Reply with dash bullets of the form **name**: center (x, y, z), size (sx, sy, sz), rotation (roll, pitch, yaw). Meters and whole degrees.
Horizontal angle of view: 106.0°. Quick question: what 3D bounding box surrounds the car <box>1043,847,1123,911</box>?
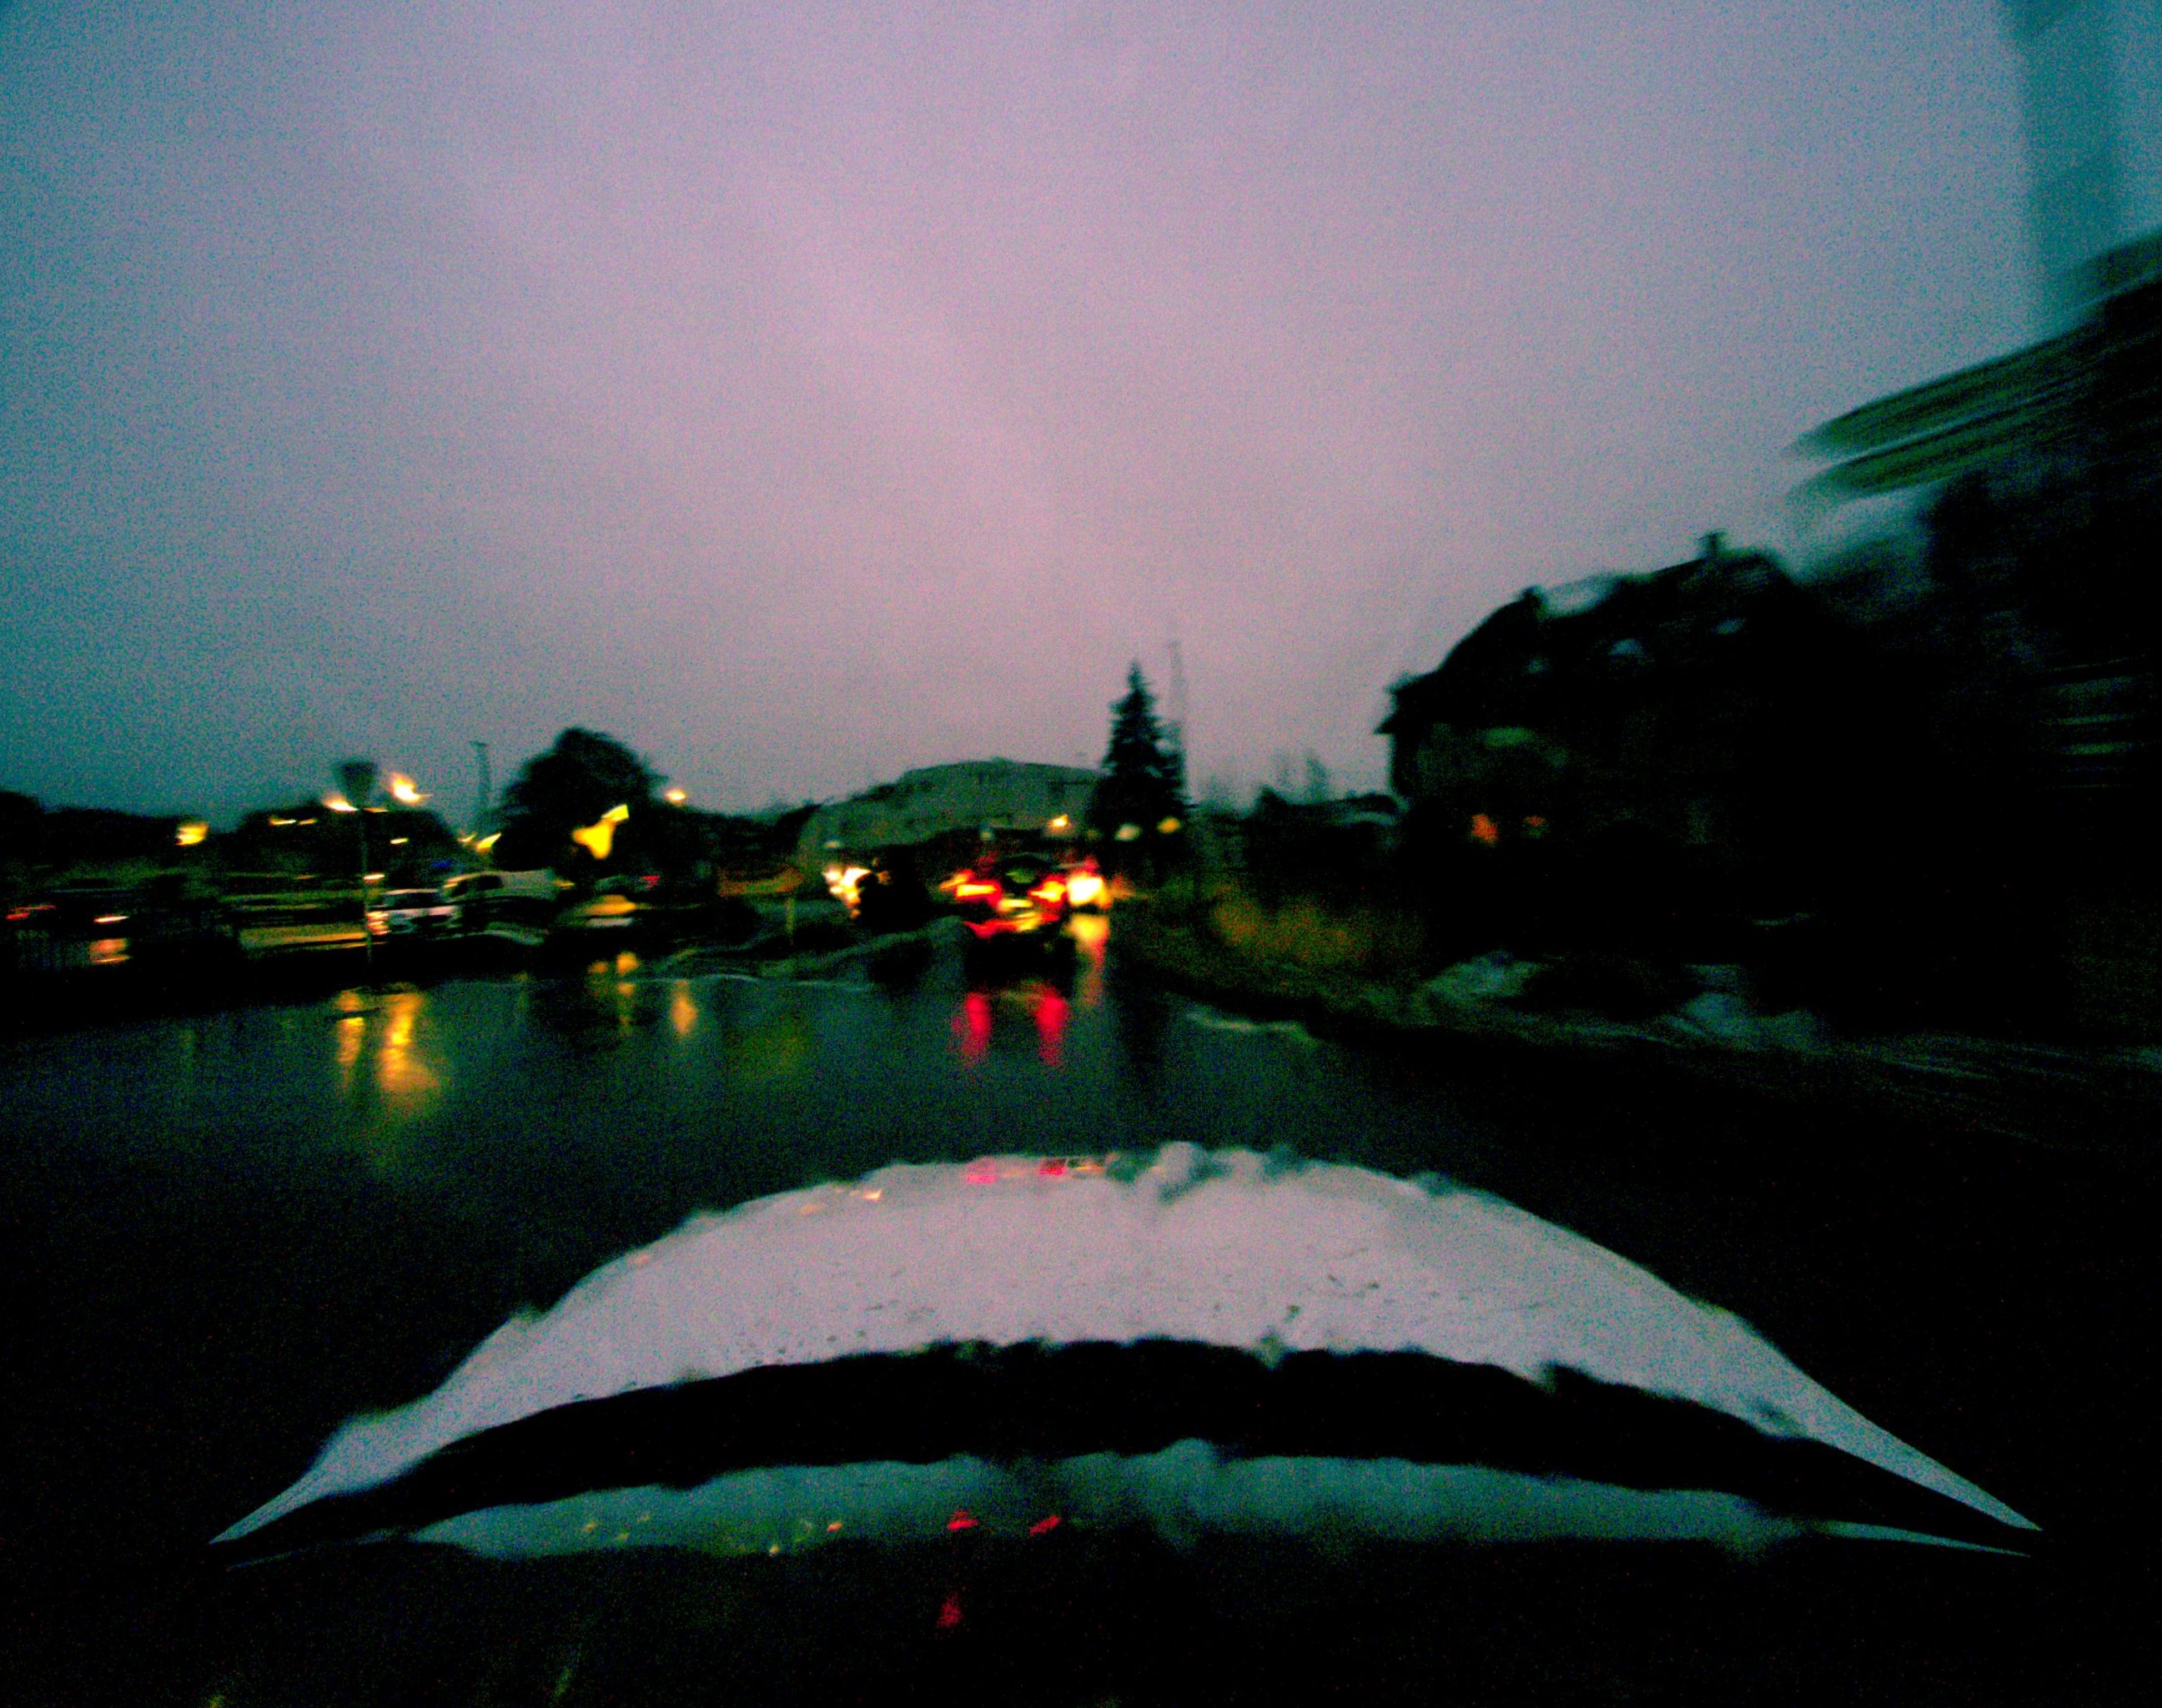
- **car**: center (0.180, 0.742, 26.653), size (2.153, 1.689, 4.578), rotation (-3, 1, 5)

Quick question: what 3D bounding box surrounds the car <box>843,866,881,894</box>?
- **car**: center (-17.916, 2.047, 66.556), size (2.174, 2.060, 4.533), rotation (-3, 1, -25)

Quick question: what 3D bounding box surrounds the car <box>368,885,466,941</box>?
- **car**: center (-22.074, 1.884, 27.017), size (4.227, 1.561, 2.077), rotation (-1, -1, 44)

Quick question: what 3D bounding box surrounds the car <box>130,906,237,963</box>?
- **car**: center (-26.214, 2.277, 23.749), size (3.948, 1.311, 1.853), rotation (-1, -1, 39)

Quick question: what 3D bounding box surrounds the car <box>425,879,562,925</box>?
- **car**: center (-30.496, 2.425, 42.464), size (2.007, 2.134, 5.458), rotation (-1, -1, 35)

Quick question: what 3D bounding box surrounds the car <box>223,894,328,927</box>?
- **car**: center (-44.002, 3.025, 44.542), size (1.706, 1.541, 3.876), rotation (-1, -1, 36)

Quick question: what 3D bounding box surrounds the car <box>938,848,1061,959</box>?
- **car**: center (-1.450, 0.791, 15.279), size (1.941, 1.718, 3.995), rotation (-2, 0, -4)

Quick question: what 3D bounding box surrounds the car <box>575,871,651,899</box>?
- **car**: center (-33.425, 2.178, 58.231), size (1.684, 1.747, 4.384), rotation (-2, 1, 40)

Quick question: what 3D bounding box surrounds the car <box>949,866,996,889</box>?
- **car**: center (-7.963, 1.735, 59.424), size (1.893, 1.548, 4.530), rotation (-2, -2, -27)
